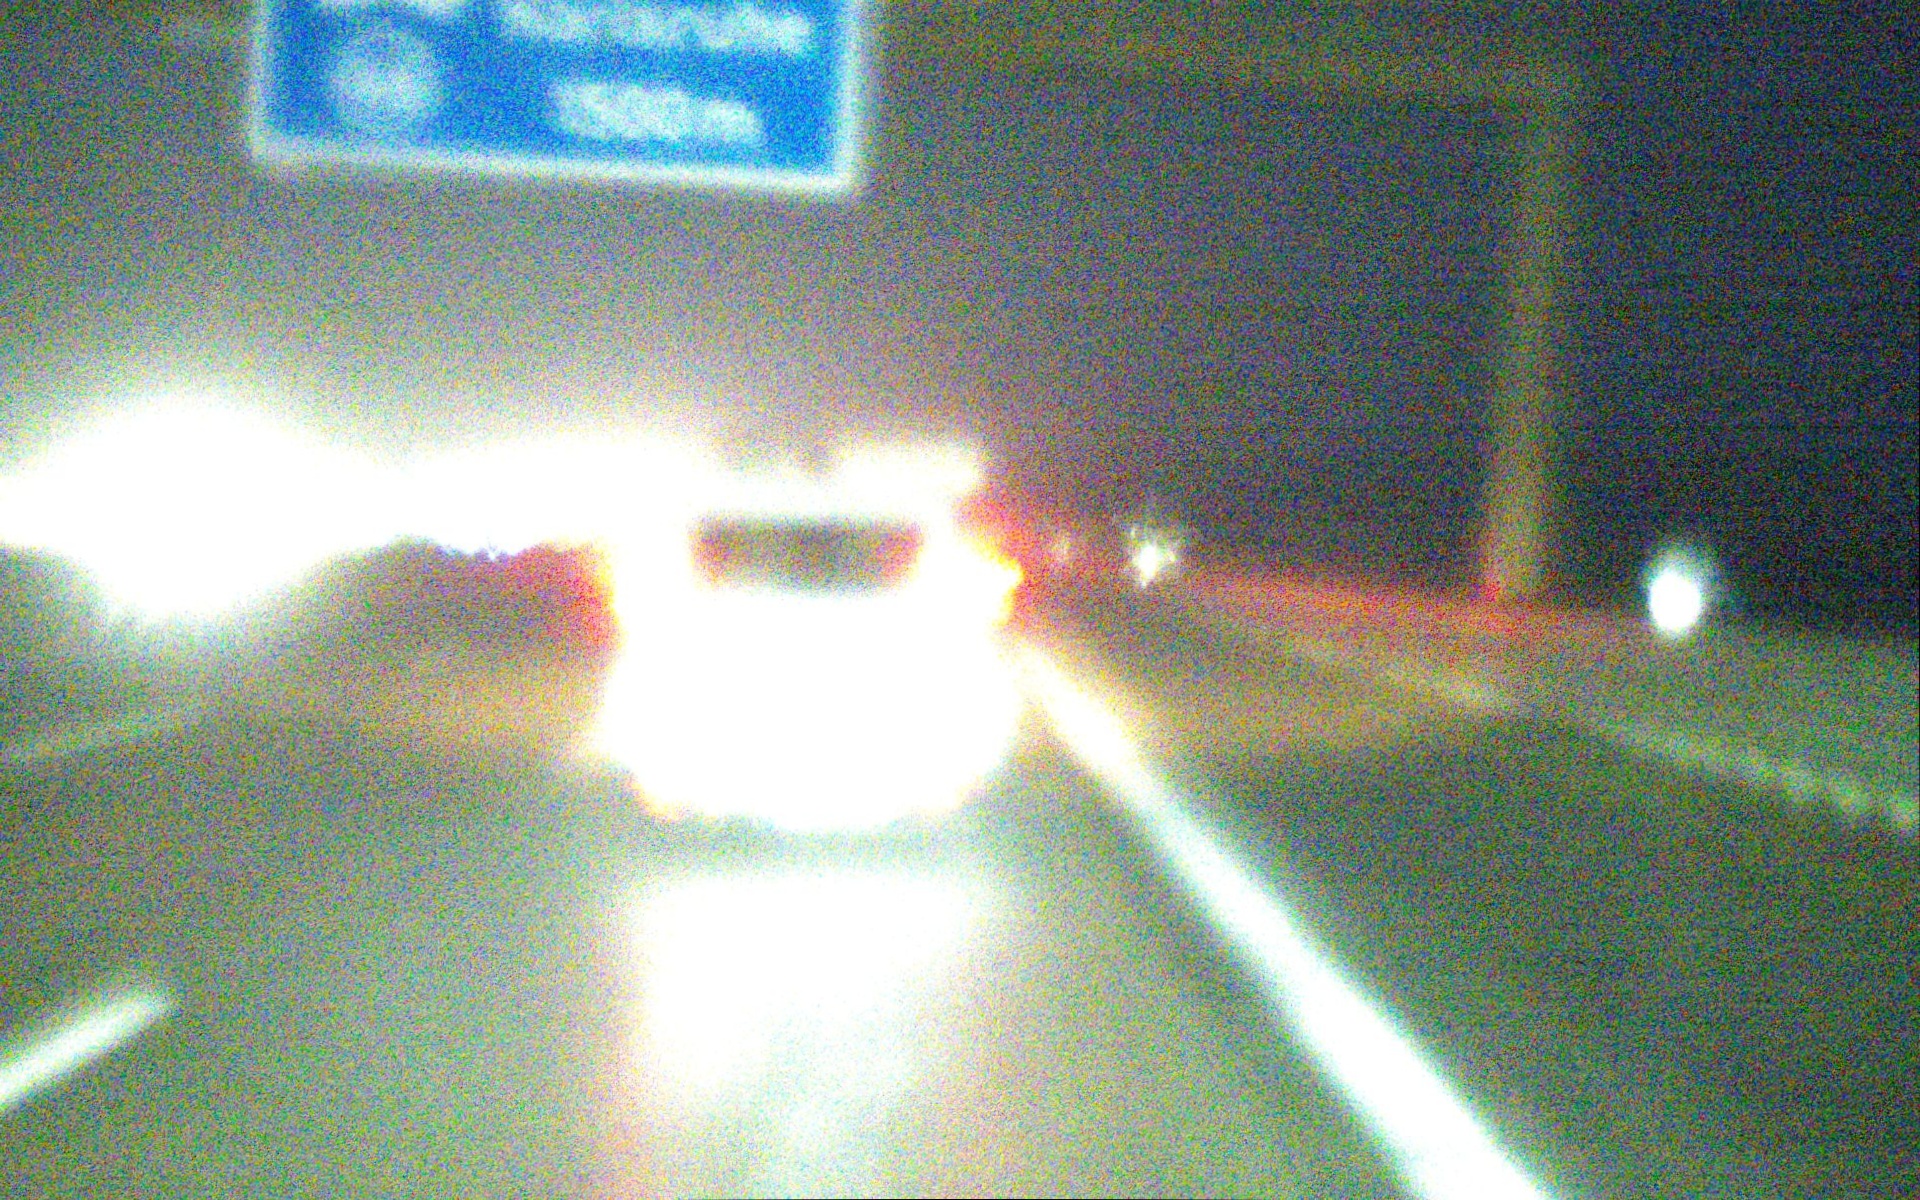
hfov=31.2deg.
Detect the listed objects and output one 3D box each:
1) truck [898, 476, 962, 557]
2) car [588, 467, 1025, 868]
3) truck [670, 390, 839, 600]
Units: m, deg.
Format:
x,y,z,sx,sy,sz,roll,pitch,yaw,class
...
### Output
x,y,z,sx,sy,sz,roll,pitch,yaw,class
-1.965,-5.252,218.602,3.824,4.898,11.607,2,1,-1,truck
-0.757,0.266,18.267,1.953,1.786,5.125,1,1,-1,car
-5.725,-2.907,98.589,4.167,5.525,13.075,1,1,-1,truck
